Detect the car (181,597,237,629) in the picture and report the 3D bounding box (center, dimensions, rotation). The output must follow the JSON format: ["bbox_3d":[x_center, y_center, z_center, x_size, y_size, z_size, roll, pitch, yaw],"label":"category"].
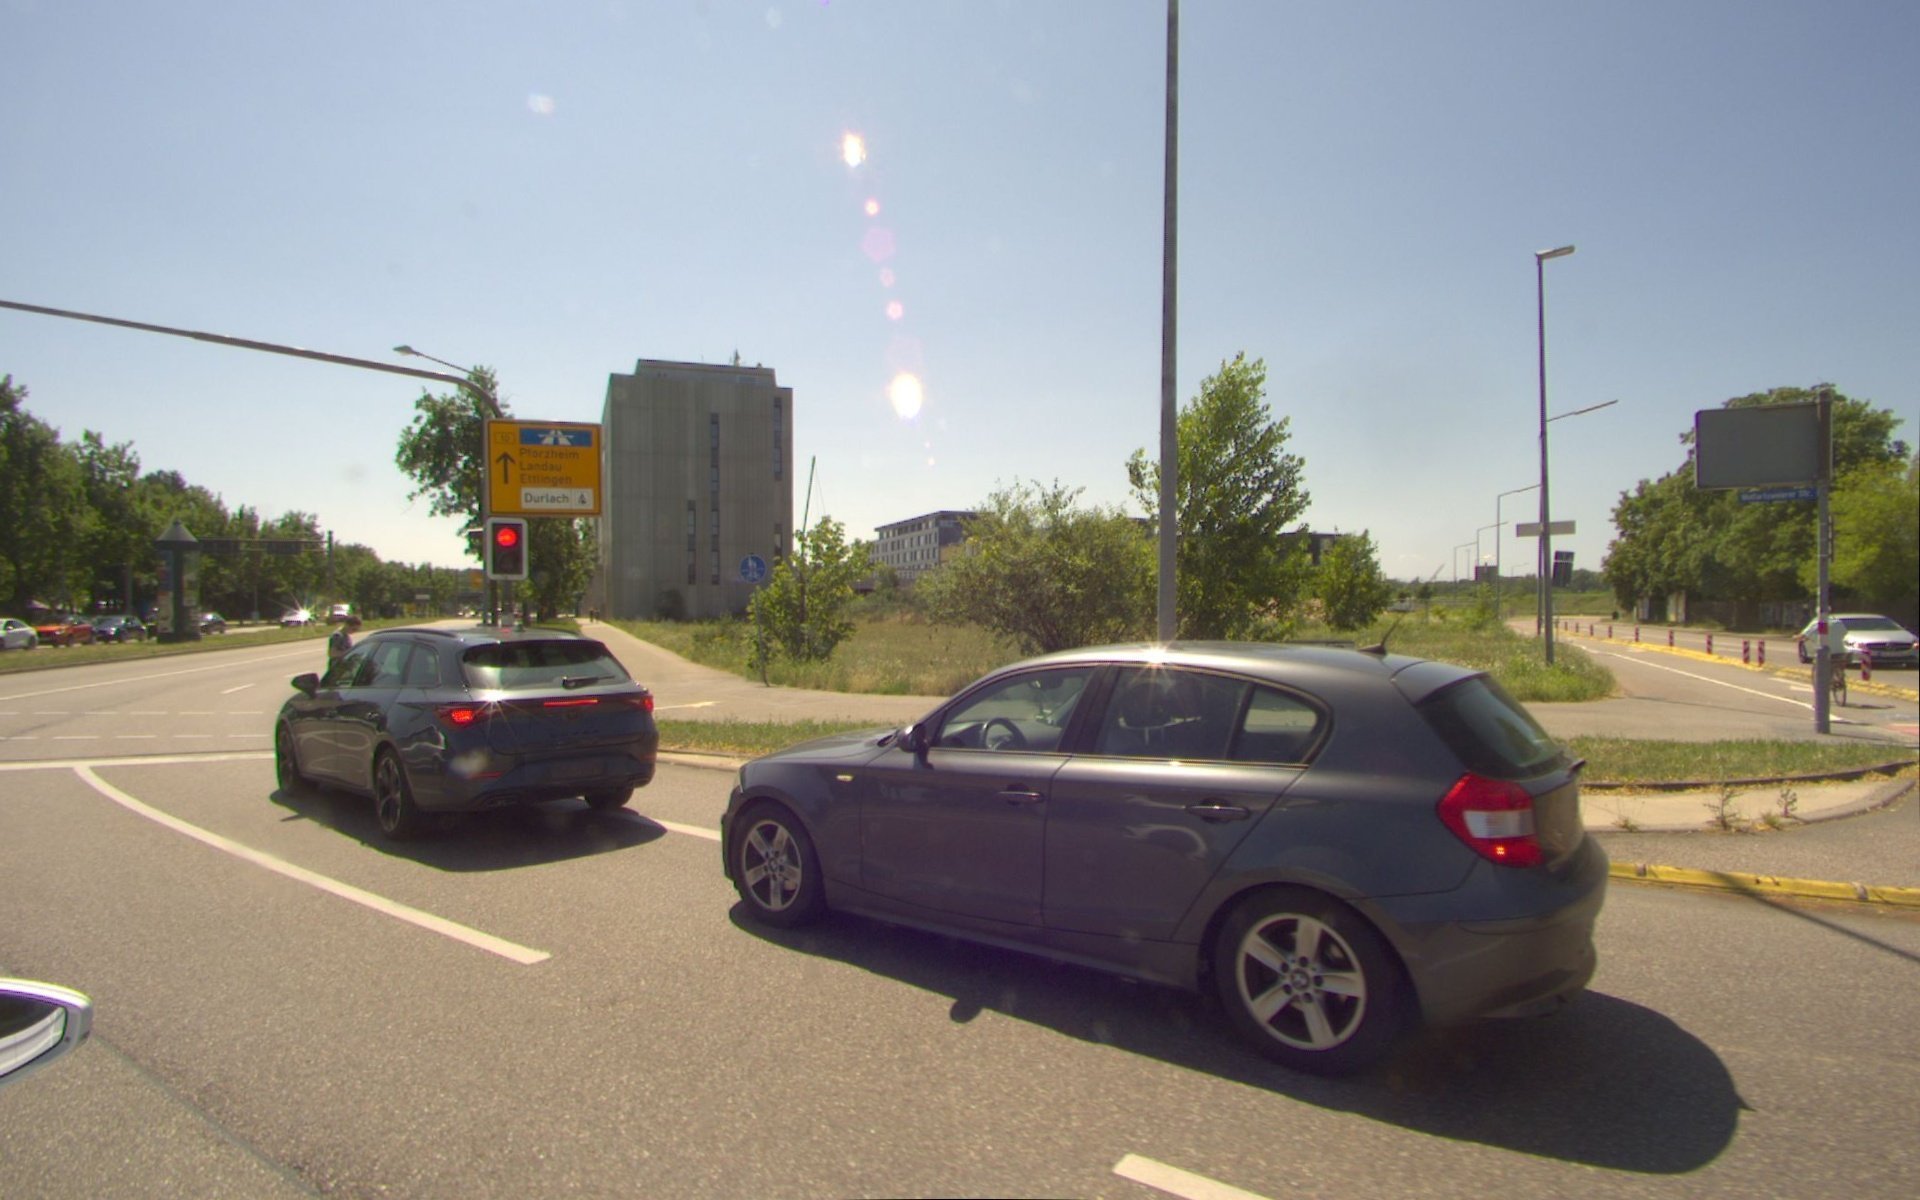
[{"bbox_3d":[-49.217,0.864,65.709,1.967,2.040,3.988,-1,0,-22],"label":"car"}]

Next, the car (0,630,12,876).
[{"bbox_3d":[-7.714,0.898,6.363,3.947,1.441,1.771,0,0,36],"label":"car"}]

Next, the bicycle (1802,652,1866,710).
[{"bbox_3d":[15.509,1.413,17.750,1.856,0.891,0.623,0,0,-41],"label":"bicycle"}]

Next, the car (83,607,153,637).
[{"bbox_3d":[-44.387,1.154,52.885,1.692,1.494,3.786,-1,-1,-22],"label":"car"}]

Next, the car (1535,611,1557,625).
[{"bbox_3d":[68.454,2.120,116.995,1.730,1.565,3.684,0,0,23],"label":"car"}]

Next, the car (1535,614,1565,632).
[{"bbox_3d":[50.980,1.962,86.547,1.730,1.565,3.684,0,0,23],"label":"car"}]

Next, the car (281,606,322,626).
[{"bbox_3d":[-52.115,1.269,79.303,1.944,1.507,3.988,0,-1,-22],"label":"car"}]

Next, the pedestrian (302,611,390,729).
[{"bbox_3d":[-9.068,1.006,14.827,0.940,1.659,0.755,-2,0,-21],"label":"pedestrian"}]

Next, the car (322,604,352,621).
[{"bbox_3d":[-60.262,1.188,96.855,1.838,1.575,3.987,0,-1,-23],"label":"car"}]

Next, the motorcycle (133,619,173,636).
[{"bbox_3d":[-46.583,1.586,57.829,0.882,0.964,2.810,-1,-1,-19],"label":"motorcycle"}]

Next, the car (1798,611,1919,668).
[{"bbox_3d":[24.903,1.043,27.558,1.834,1.447,3.987,-1,-1,25],"label":"car"}]

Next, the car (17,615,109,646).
[{"bbox_3d":[-42.878,1.426,47.997,1.833,1.441,4.396,0,-1,-21],"label":"car"}]

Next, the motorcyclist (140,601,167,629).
[{"bbox_3d":[-46.650,0.868,57.961,0.893,1.607,1.008,-2,0,-20],"label":"motorcyclist"}]

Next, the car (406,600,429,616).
[{"bbox_3d":[-62.193,0.938,114.881,1.776,1.714,4.131,-1,-1,-21],"label":"car"}]

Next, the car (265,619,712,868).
[{"bbox_3d":[-4.079,0.903,8.259,4.409,1.437,1.981,0,0,45],"label":"car"}]

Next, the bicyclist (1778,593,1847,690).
[{"bbox_3d":[15.202,0.722,17.843,1.150,1.662,0.742,0,0,-40],"label":"bicyclist"}]

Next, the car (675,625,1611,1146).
[{"bbox_3d":[0.632,0.857,4.751,4.027,1.421,1.742,0,-1,37],"label":"car"}]

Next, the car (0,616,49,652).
[{"bbox_3d":[-40.229,1.396,41.770,1.833,1.441,4.396,0,-1,-21],"label":"car"}]
